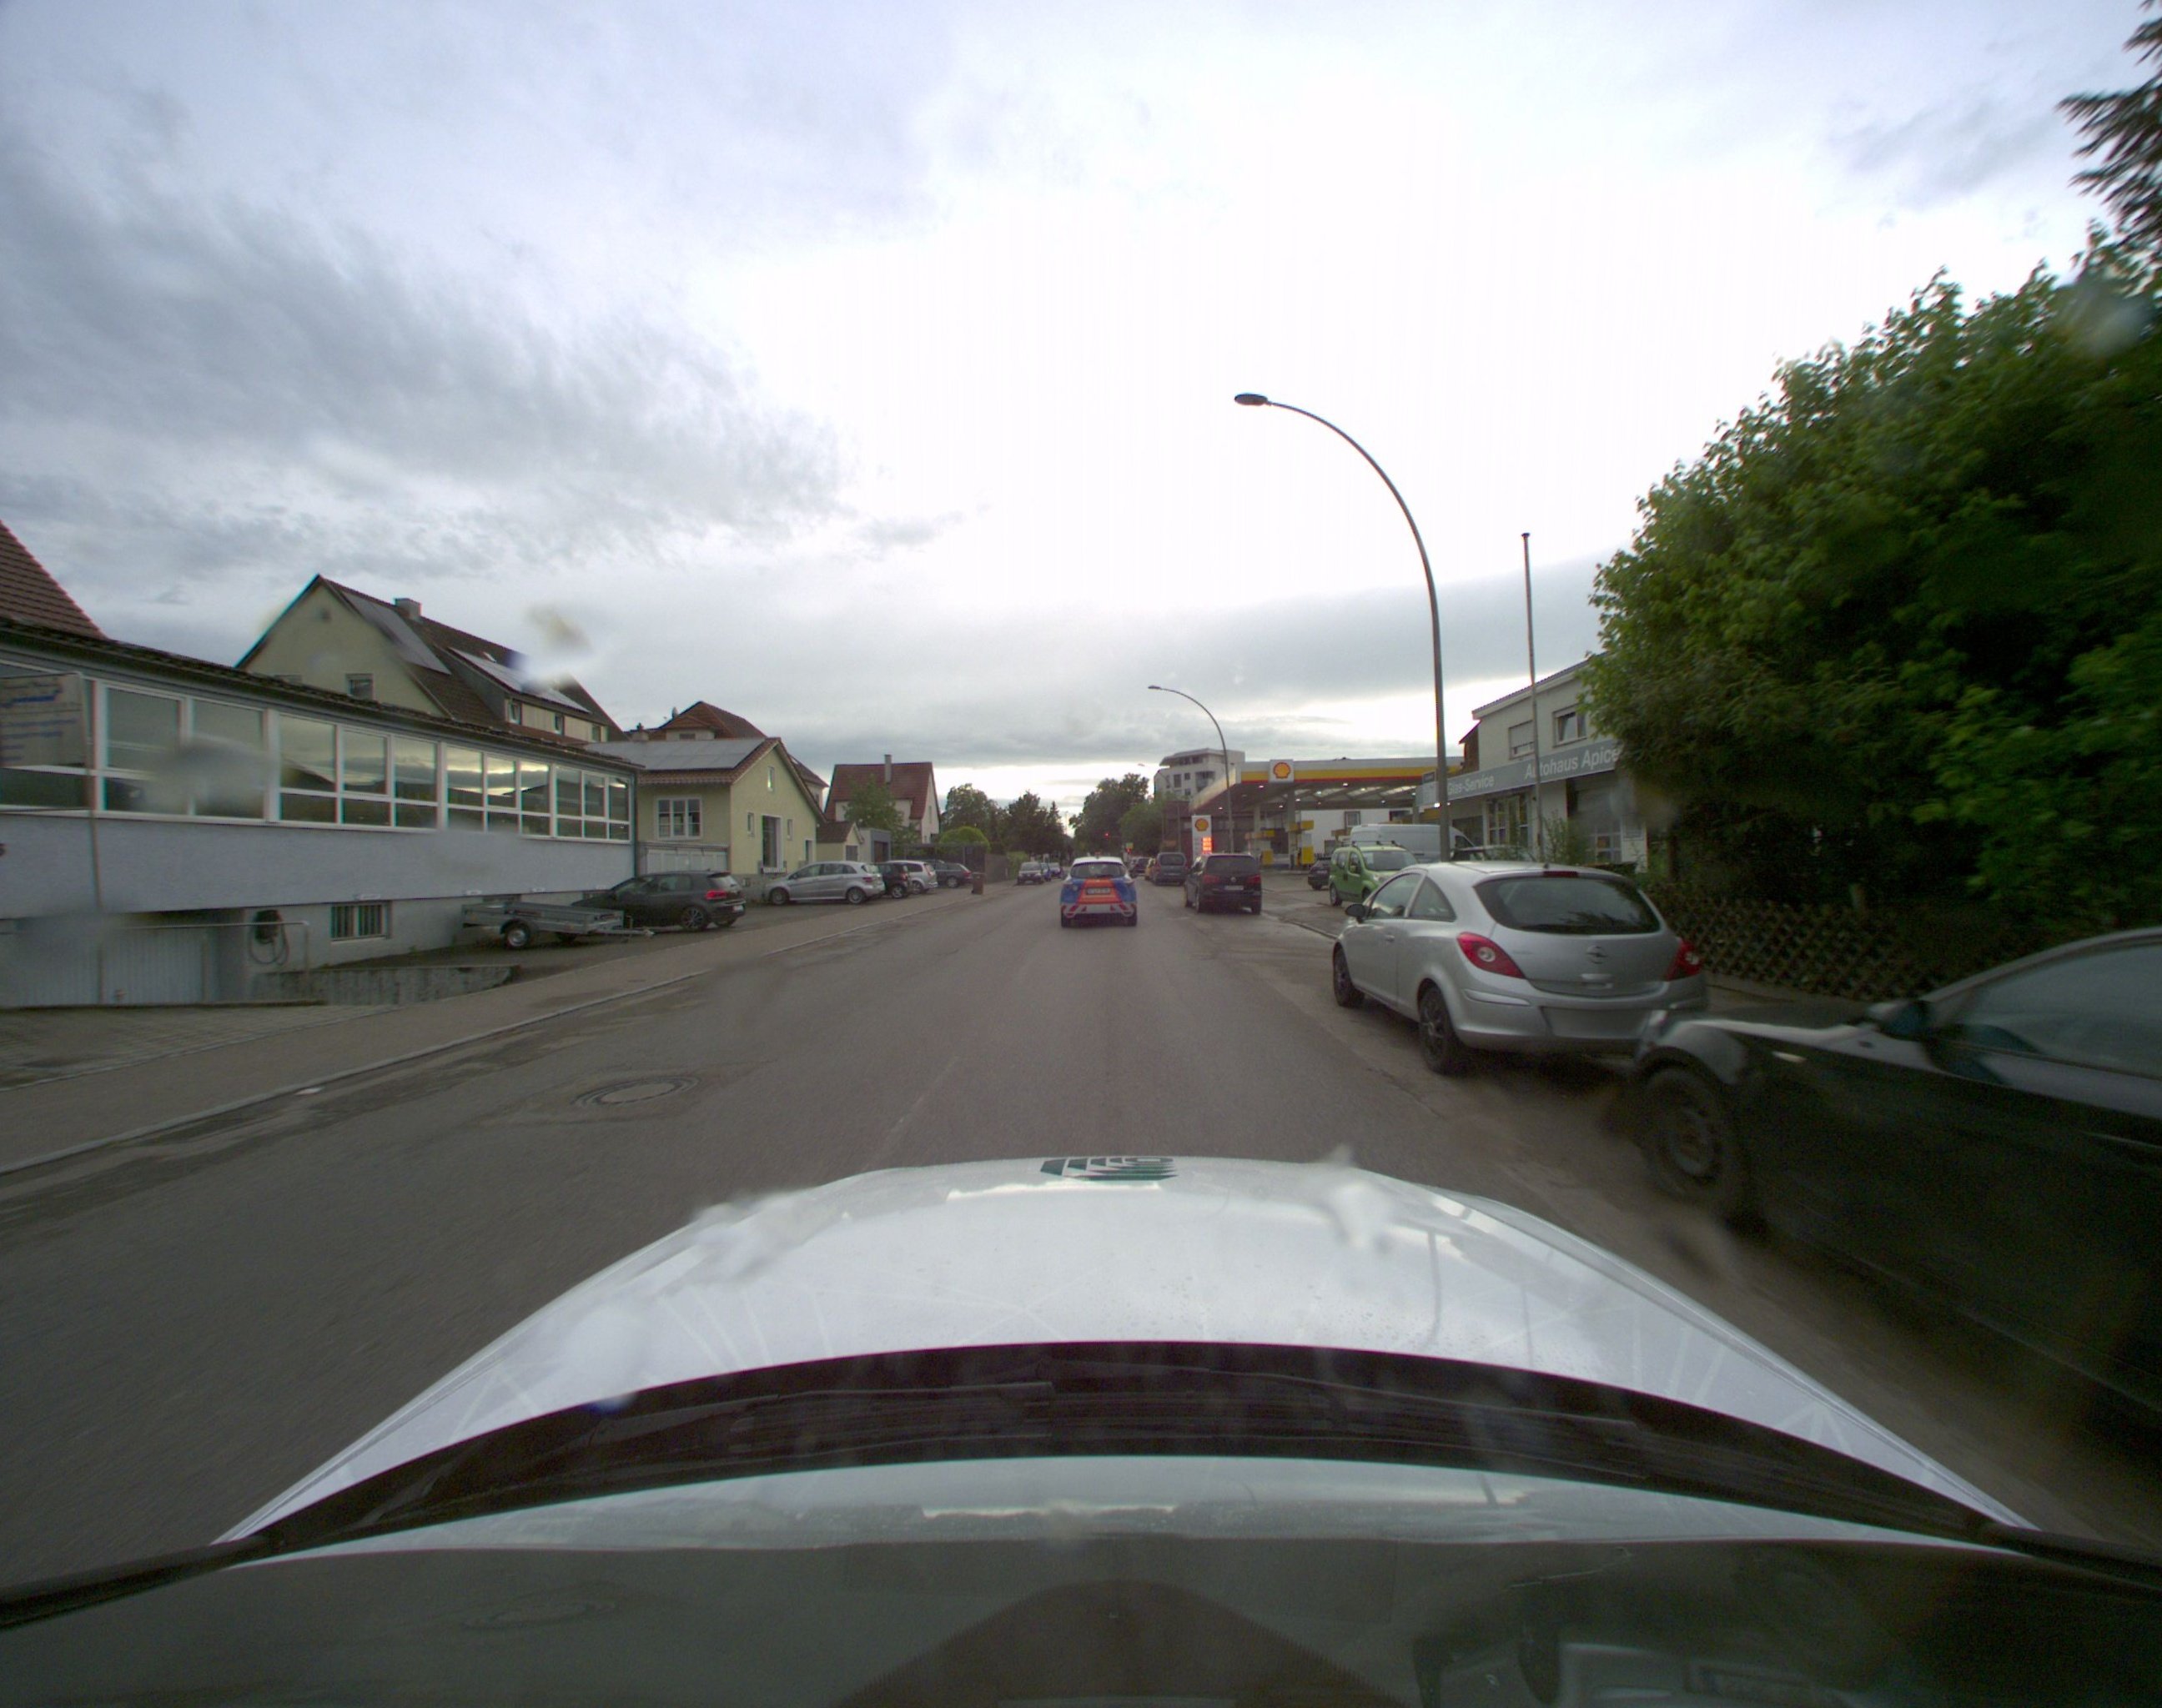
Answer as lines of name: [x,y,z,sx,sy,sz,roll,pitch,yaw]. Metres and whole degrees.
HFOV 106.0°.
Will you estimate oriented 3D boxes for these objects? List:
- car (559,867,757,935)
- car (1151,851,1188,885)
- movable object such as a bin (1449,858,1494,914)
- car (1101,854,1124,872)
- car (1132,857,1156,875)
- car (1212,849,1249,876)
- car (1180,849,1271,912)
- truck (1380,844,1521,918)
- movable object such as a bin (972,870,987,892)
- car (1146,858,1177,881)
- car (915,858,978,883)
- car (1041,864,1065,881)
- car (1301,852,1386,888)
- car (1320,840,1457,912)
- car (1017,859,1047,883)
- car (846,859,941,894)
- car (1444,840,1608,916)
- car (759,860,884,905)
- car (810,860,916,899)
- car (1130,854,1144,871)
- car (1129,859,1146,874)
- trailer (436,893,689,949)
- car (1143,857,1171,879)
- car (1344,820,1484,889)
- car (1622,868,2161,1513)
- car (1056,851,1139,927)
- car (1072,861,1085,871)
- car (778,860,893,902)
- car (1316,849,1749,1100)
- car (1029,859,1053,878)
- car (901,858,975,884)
car: [-10.274,1.119,19.985,3.860,1.438,1.768,-2,0,0]
car: [4.828,0.745,44.997,1.650,1.738,4.446,1,0,2]
movable object such as a bin: [7.816,0.628,16.318,0.572,1.075,0.682,-2,-1,1]
car: [2.953,0.777,75.116,1.984,1.574,4.005,0,0,5]
car: [5.903,1.110,76.693,2.083,1.662,4.561,0,0,2]
car: [10.513,0.606,57.436,1.814,1.759,3.999,-2,-1,0]
car: [4.004,0.690,23.249,1.986,1.596,4.002,-2,0,2]
truck: [7.964,0.574,17.702,2.539,1.530,1.330,-1,0,9]
movable object such as a bin: [-5.079,1.344,40.803,0.593,1.057,0.687,3,1,2]
car: [5.030,0.955,51.189,1.650,1.376,4.026,-1,-1,2]
car: [-8.203,1.010,49.816,3.577,1.457,1.755,0,-1,-3]
car: [-2.491,1.639,74.003,1.800,1.403,3.946,-3,-1,2]
car: [11.101,0.629,34.298,1.758,1.374,4.023,-2,0,45]
car: [7.958,0.529,21.519,1.988,1.683,3.996,-1,0,-2]
car: [-3.333,1.130,55.601,1.602,1.506,3.709,-3,-1,2]
car: [-8.849,1.028,38.701,4.076,1.514,1.881,-1,0,-4]
car: [10.586,0.525,19.694,1.742,1.519,3.729,-4,0,-2]
car: [-9.666,1.050,30.621,4.076,1.532,1.997,-1,0,-4]
car: [-9.253,1.066,34.873,4.076,1.503,1.754,-1,0,-4]
car: [7.169,1.031,104.020,1.769,2.029,4.760,0,0,5]
car: [6.749,1.489,97.970,1.858,1.665,4.322,-1,-1,2]
trailer: [-10.932,1.402,17.394,4.184,0.943,1.794,-1,0,-1]
car: [5.109,0.920,55.252,1.650,1.402,3.803,-1,-1,2]
car: [13.066,-0.021,32.009,4.805,2.520,2.232,-1,0,-20]
car: [3.286,0.777,1.872,1.731,1.403,3.720,0,0,2]
car: [0.435,0.760,19.577,1.739,1.581,4.002,-2,0,2]
car: [-0.297,1.730,120.250,1.619,1.433,3.687,-2,-1,4]
car: [-9.842,1.058,32.885,4.073,1.532,1.812,-1,0,-2]
car: [3.307,0.729,6.913,1.730,1.502,3.885,0,0,4]
car: [-3.097,1.104,63.619,1.540,1.403,3.599,-3,-1,2]
car: [-8.190,0.944,46.901,4.077,1.414,1.711,0,0,-5]
